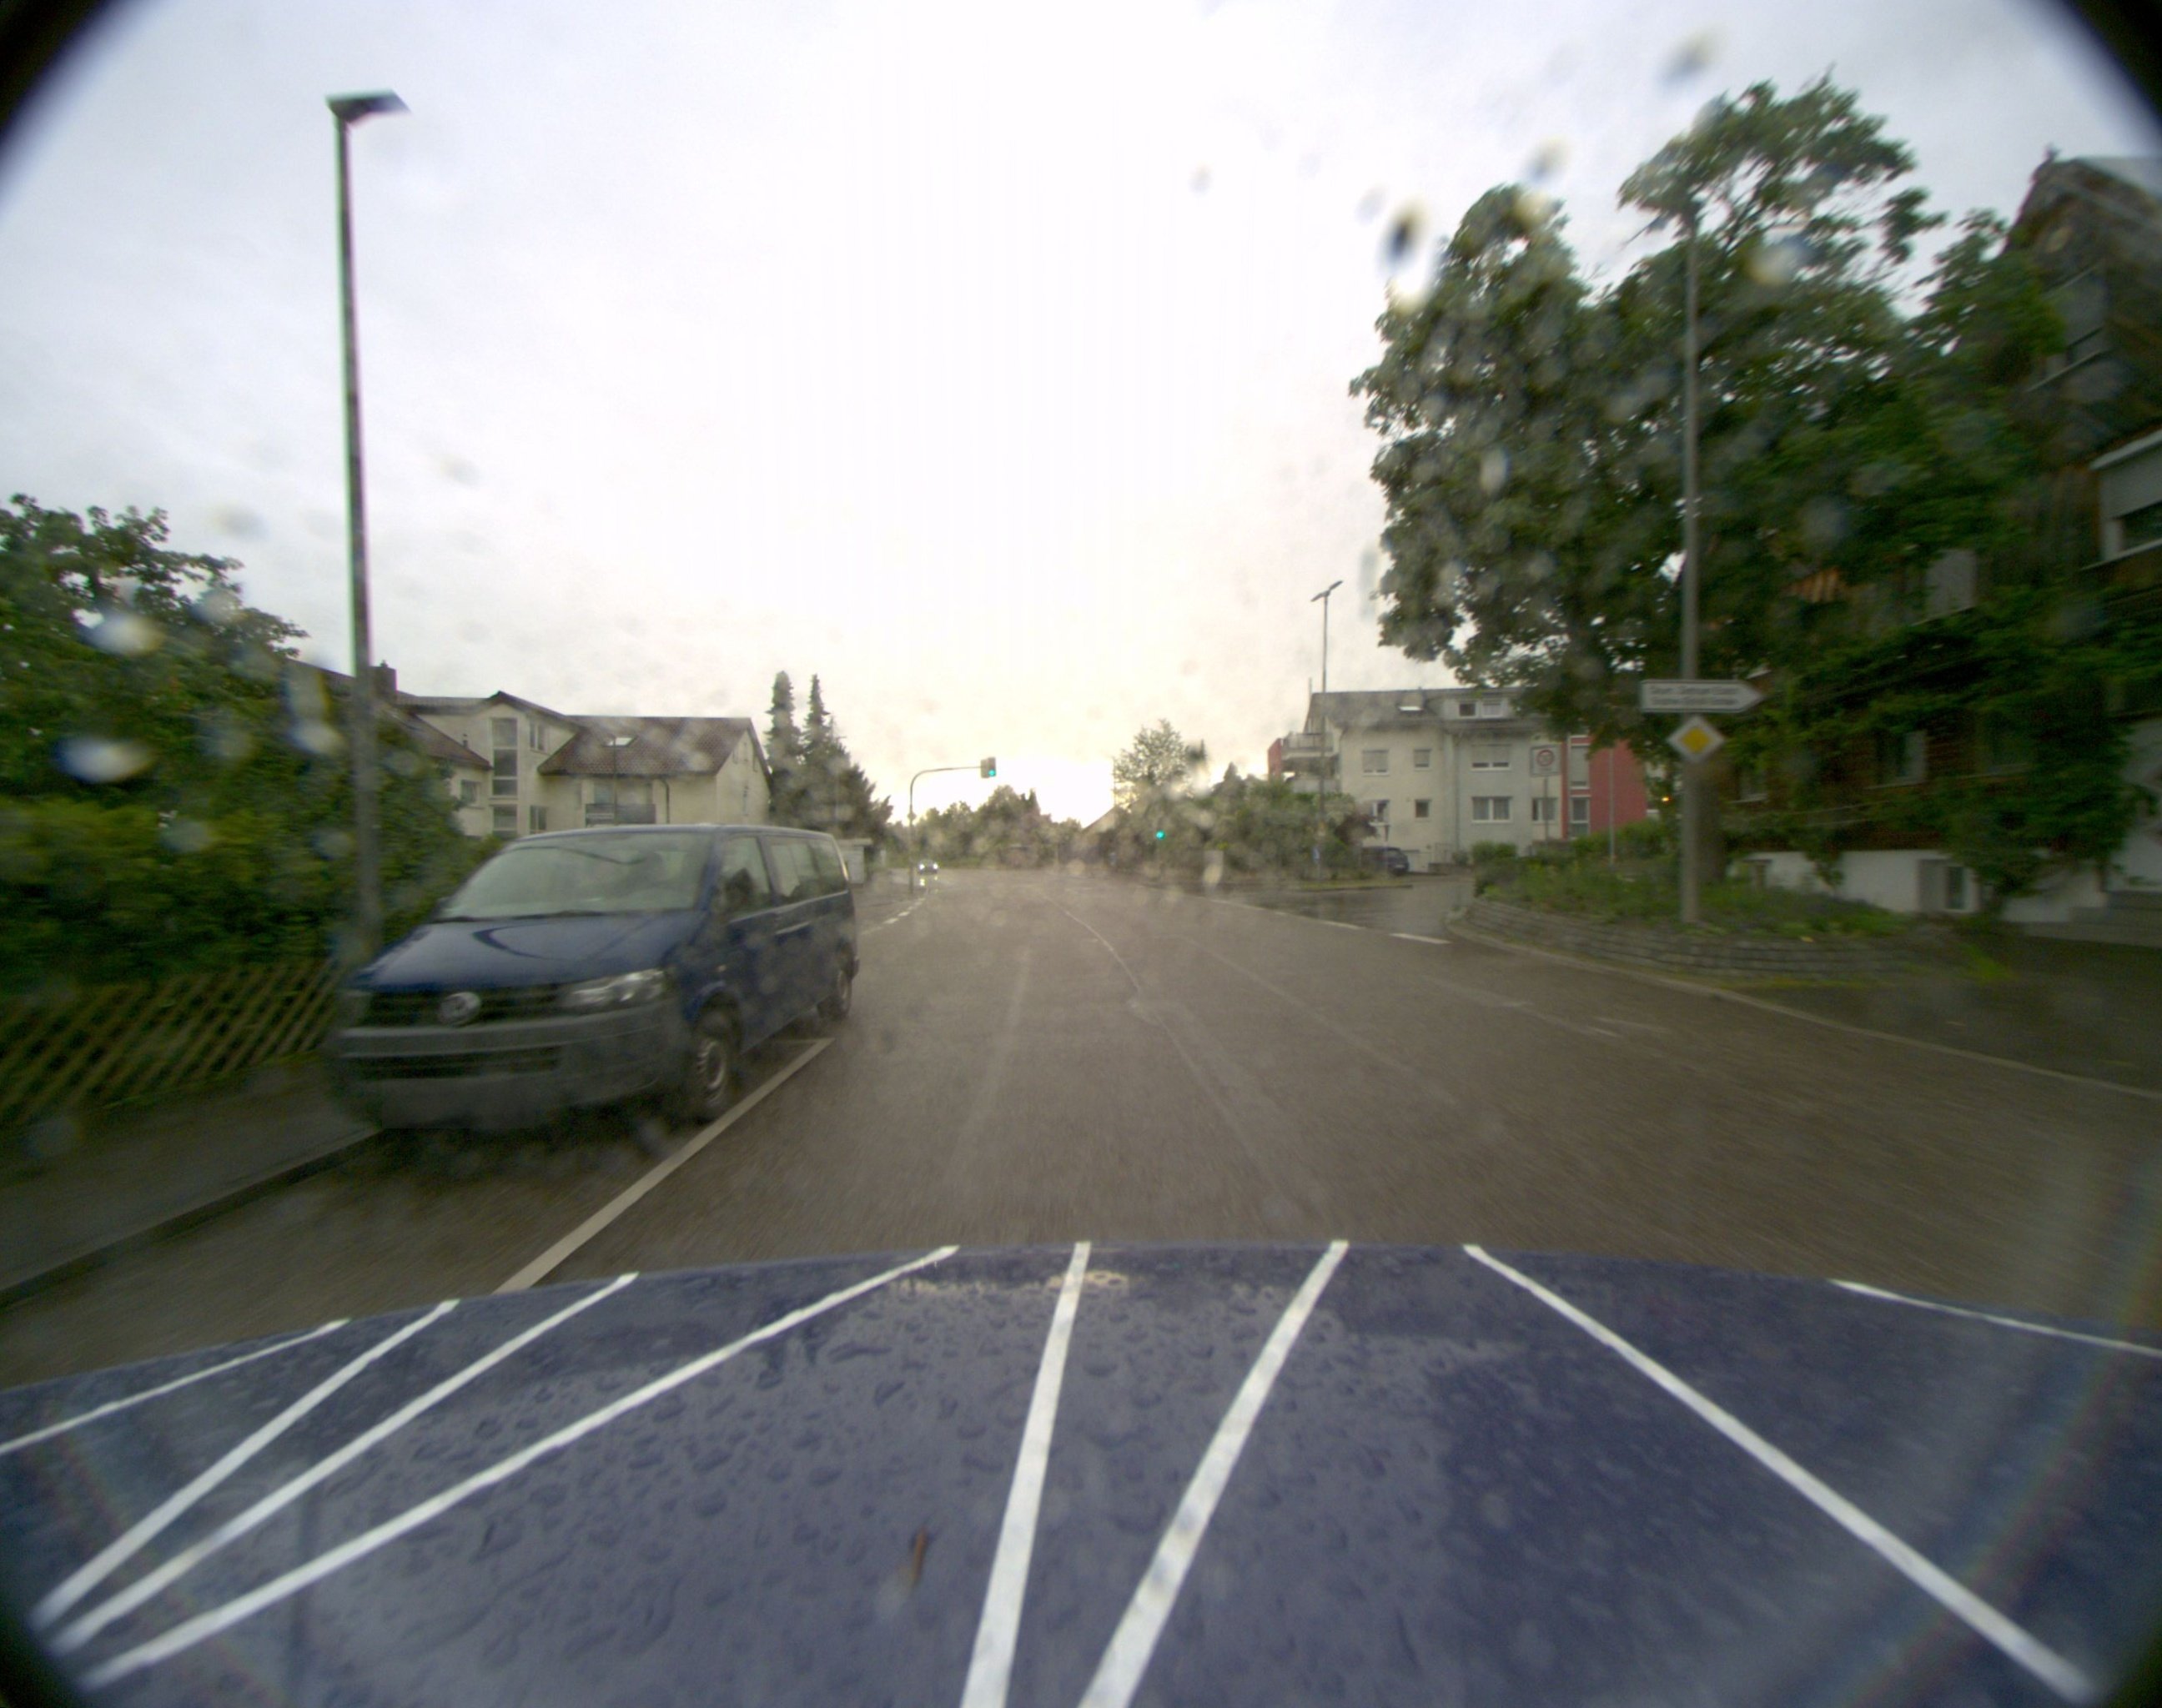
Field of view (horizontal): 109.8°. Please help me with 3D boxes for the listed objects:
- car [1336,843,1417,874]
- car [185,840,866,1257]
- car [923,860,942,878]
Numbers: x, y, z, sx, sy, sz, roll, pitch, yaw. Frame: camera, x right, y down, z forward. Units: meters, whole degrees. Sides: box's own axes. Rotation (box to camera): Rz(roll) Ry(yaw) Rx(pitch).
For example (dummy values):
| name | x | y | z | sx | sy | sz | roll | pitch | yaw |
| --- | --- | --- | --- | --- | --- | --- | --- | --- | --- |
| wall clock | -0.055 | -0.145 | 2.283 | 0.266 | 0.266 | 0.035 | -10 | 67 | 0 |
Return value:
| name | x | y | z | sx | sy | sz | roll | pitch | yaw |
| --- | --- | --- | --- | --- | --- | --- | --- | --- | --- |
| car | 14.508 | 0.202 | 37.435 | 1.779 | 1.413 | 3.620 | -1 | 0 | -20 |
| car | -3.289 | 0.906 | 6.006 | 1.936 | 1.891 | 4.792 | -2 | 0 | -3 |
| car | -15.724 | 1.600 | 80.517 | 2.000 | 1.831 | 3.996 | -1 | 0 | -11 |
